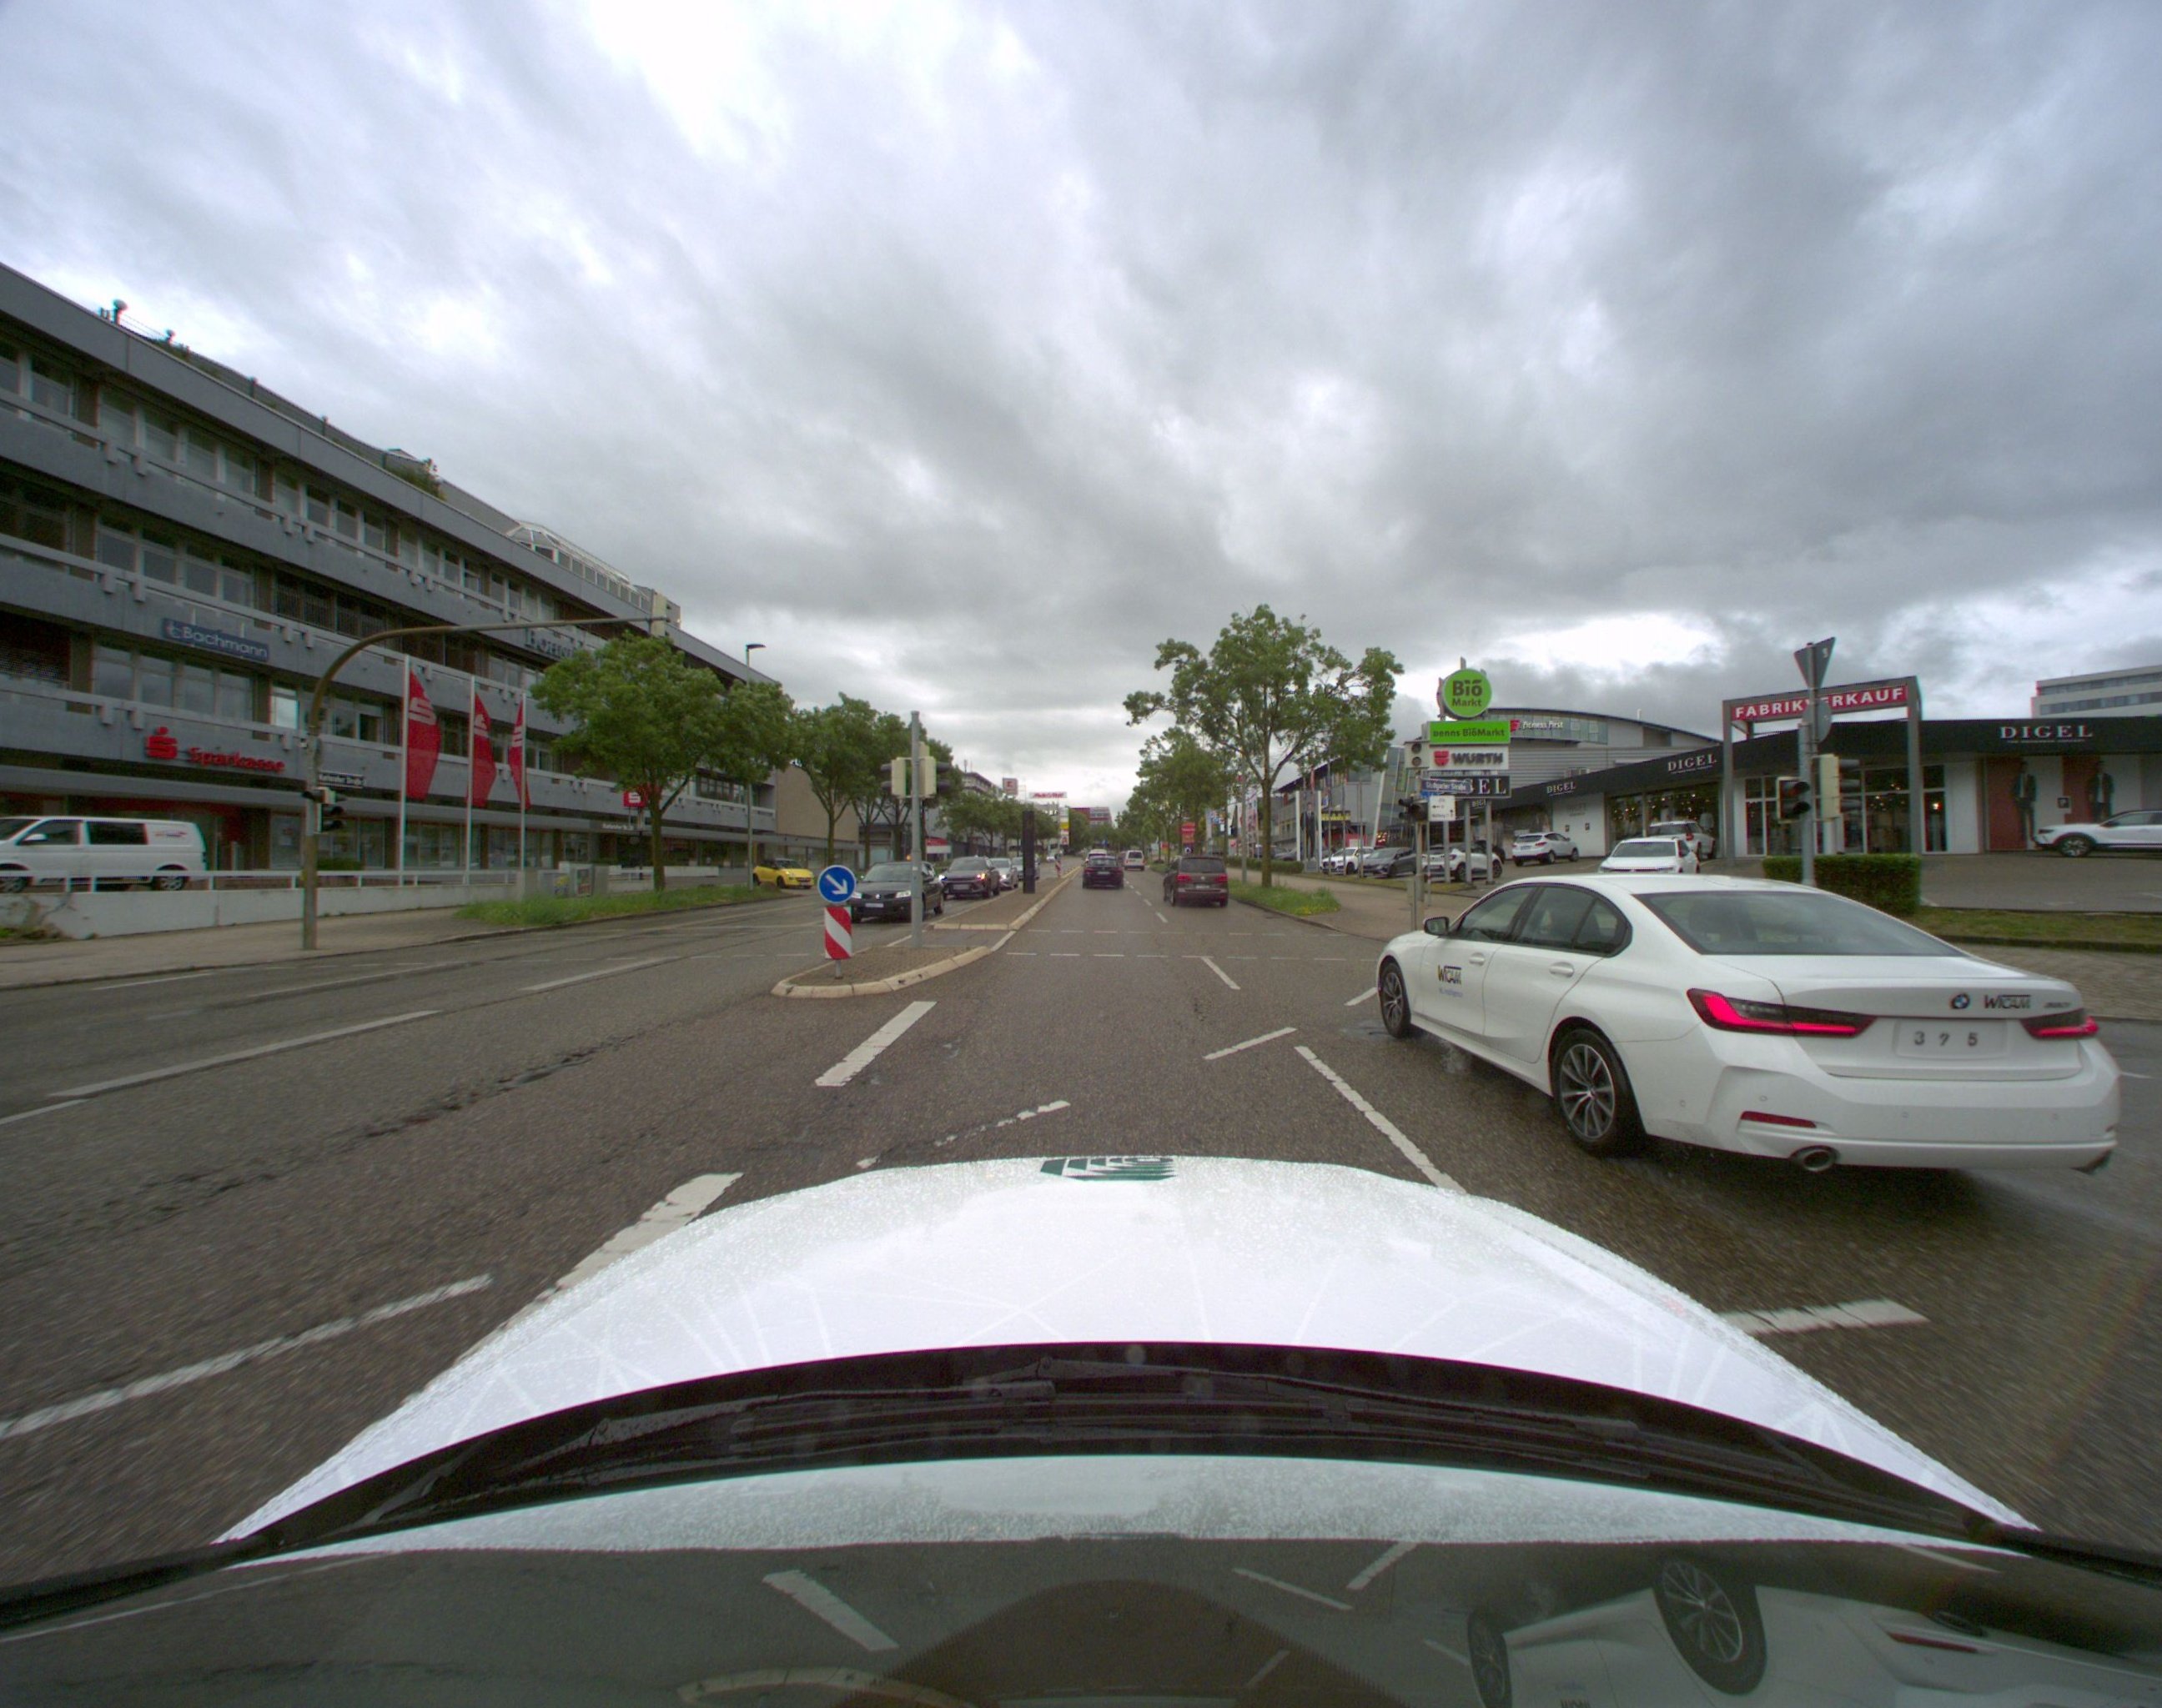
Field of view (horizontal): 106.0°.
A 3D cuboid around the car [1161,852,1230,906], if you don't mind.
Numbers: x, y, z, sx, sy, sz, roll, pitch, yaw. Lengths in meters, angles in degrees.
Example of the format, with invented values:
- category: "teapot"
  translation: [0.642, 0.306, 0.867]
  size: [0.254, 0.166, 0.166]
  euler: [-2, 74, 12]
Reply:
- category: "car"
  translation: [3.634, 0.750, 26.531]
  size: [1.794, 1.587, 4.454]
  euler: [1, 0, 3]

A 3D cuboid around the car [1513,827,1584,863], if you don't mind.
- category: "car"
  translation: [24.378, -0.459, 42.461]
  size: [4.173, 1.771, 1.718]
  euler: [-1, -1, -38]

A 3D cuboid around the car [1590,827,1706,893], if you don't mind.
- category: "car"
  translation: [15.175, 0.136, 21.702]
  size: [1.908, 1.576, 4.314]
  euler: [-1, -1, 43]

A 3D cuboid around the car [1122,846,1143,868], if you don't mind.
- category: "car"
  translation: [4.588, 0.293, 73.198]
  size: [1.775, 1.866, 4.001]
  euler: [-1, -1, 2]

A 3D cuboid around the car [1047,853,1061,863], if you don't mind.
- category: "car"
  translation: [-4.243, 0.608, 128.541]
  size: [1.936, 1.448, 4.001]
  euler: [0, 0, 1]

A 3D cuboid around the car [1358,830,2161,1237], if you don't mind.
- category: "car"
  translation: [3.492, 0.725, 5.500]
  size: [1.794, 1.544, 4.622]
  euler: [1, -1, 2]

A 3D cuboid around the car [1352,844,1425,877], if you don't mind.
- category: "car"
  translation: [14.975, 0.288, 39.577]
  size: [3.616, 1.536, 1.625]
  euler: [-1, -1, -38]

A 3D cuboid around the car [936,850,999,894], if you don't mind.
- category: "car"
  translation: [-4.141, 0.625, 30.353]
  size: [1.740, 1.489, 4.826]
  euler: [-1, 0, -1]

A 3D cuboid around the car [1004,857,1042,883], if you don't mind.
- category: "car"
  translation: [-3.473, 0.961, 49.530]
  size: [1.717, 1.398, 4.791]
  euler: [-3, -1, 2]

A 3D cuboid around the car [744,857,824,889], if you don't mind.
- category: "car"
  translation: [-15.152, 0.962, 41.505]
  size: [3.948, 1.552, 1.912]
  euler: [-1, 0, 36]

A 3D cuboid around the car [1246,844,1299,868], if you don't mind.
- category: "car"
  translation: [16.229, 0.153, 69.070]
  size: [4.093, 1.904, 1.801]
  euler: [-1, 0, 3]

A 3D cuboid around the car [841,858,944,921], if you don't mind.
- category: "car"
  translation: [-4.567, 0.816, 20.302]
  size: [1.677, 1.377, 3.998]
  euler: [-1, 0, -1]

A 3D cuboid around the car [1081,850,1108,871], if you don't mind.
- category: "car"
  translation: [0.914, 0.457, 55.566]
  size: [1.677, 1.377, 3.998]
  euler: [-1, 0, -1]

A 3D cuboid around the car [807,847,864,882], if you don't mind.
- category: "car"
  translation: [-14.837, 0.636, 49.403]
  size: [1.985, 2.014, 4.002]
  euler: [1, -1, 3]

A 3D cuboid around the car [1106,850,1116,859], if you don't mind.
- category: "car"
  translation: [4.929, 0.084, 135.977]
  size: [1.588, 1.474, 3.445]
  euler: [1, -1, 1]

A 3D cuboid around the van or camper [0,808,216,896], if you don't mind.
- category: "van or camper"
  translation: [-25.075, -0.013, 20.180]
  size: [1.986, 1.967, 4.790]
  euler: [1, -1, 2]

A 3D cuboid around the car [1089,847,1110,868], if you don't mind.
- category: "car"
  translation: [1.908, 0.386, 80.988]
  size: [1.986, 2.014, 4.002]
  euler: [1, -1, 2]

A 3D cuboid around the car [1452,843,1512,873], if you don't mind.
- category: "car"
  translation: [24.208, 0.242, 49.138]
  size: [3.994, 1.720, 1.615]
  euler: [-1, -1, -38]

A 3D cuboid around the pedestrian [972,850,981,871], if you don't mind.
- category: "pedestrian"
  translation: [-11.322, 0.680, 88.382]
  size: [0.856, 2.218, 0.846]
  euler: [0, 0, -1]

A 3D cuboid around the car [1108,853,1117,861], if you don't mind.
- category: "car"
  translation: [5.902, 0.555, 151.775]
  size: [1.614, 1.495, 3.360]
  euler: [1, -1, 1]

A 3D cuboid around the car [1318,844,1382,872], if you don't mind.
- category: "car"
  translation: [15.625, 0.228, 47.267]
  size: [3.616, 1.536, 1.776]
  euler: [-1, 0, -38]

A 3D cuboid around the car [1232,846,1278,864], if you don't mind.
- category: "car"
  translation: [16.285, 0.079, 76.219]
  size: [4.088, 1.703, 1.803]
  euler: [0, 0, 7]

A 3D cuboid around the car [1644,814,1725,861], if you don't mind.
- category: "car"
  translation: [24.329, -0.630, 32.783]
  size: [4.176, 1.771, 1.717]
  euler: [0, -1, -41]

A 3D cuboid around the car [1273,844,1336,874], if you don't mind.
- category: "car"
  translation: [15.904, 0.337, 58.149]
  size: [4.093, 2.106, 1.801]
  euler: [0, 0, 3]

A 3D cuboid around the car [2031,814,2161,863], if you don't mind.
- category: "car"
  translation: [32.953, -0.471, 25.488]
  size: [1.746, 1.481, 4.106]
  euler: [0, -1, -38]

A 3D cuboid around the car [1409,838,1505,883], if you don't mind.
- category: "car"
  translation: [15.632, 0.236, 33.806]
  size: [4.046, 1.663, 1.960]
  euler: [-3, 1, -38]

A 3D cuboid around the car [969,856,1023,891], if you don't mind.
- category: "car"
  translation: [-3.831, 0.862, 37.642]
  size: [1.834, 1.377, 4.863]
  euler: [-4, 0, 1]

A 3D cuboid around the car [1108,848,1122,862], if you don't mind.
- category: "car"
  translation: [4.395, 0.198, 103.875]
  size: [1.678, 1.684, 3.405]
  euler: [1, -1, 3]

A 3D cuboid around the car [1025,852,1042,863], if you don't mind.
- category: "car"
  translation: [-6.247, 0.513, 107.504]
  size: [1.936, 1.453, 4.001]
  euler: [0, 0, 1]

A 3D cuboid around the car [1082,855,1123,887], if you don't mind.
- category: "car"
  translation: [1.006, 0.770, 37.475]
  size: [1.775, 1.398, 4.001]
  euler: [0, -1, 2]

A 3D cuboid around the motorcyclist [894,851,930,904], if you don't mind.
- category: "motorcyclist"
  translation: [-5.081, 0.691, 24.548]
  size: [0.804, 1.559, 1.267]
  euler: [0, 0, 0]
